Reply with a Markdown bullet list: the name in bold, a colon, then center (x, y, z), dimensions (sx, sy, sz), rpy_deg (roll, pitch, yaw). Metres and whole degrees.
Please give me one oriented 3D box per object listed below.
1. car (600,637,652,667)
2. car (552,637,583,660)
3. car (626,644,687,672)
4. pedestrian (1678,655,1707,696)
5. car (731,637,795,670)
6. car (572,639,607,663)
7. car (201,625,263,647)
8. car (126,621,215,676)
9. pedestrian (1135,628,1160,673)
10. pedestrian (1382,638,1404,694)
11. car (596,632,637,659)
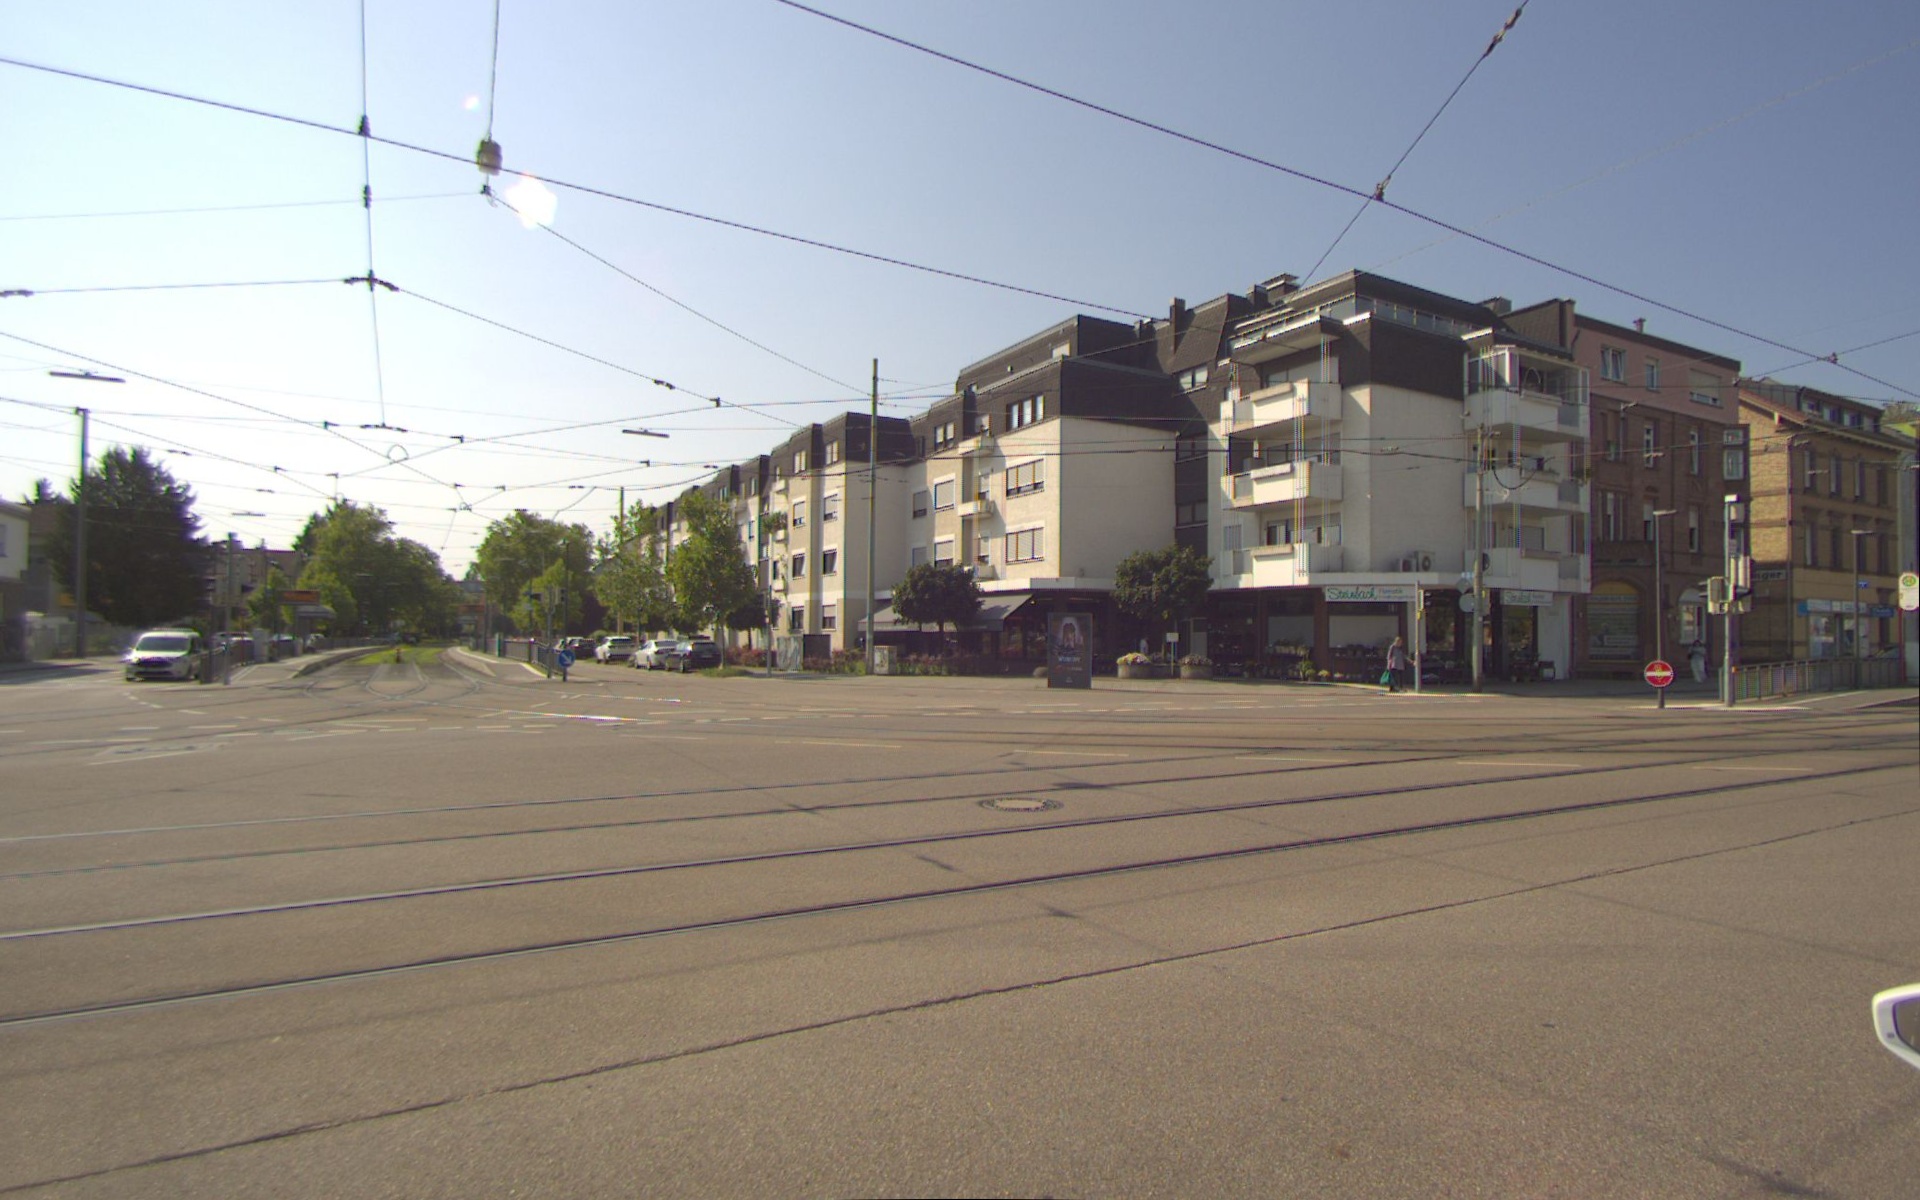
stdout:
- **car**: center (-18.392, 2.885, 55.151), dimensions (1.848, 1.554, 4.351), rpy_deg (2, -4, -30)
- **car**: center (-32.458, 4.026, 83.011), dimensions (1.974, 1.796, 3.974), rpy_deg (2, -4, -27)
- **car**: center (-15.176, 2.910, 50.093), dimensions (1.657, 1.316, 4.082), rpy_deg (3, -5, -35)
- **pedestrian**: center (29.037, 2.992, 39.836), dimensions (0.873, 1.580, 0.482), rpy_deg (3, -1, -19)
- **car**: center (-9.857, 2.650, 50.099), dimensions (1.907, 1.527, 4.090), rpy_deg (2, -2, -29)
- **car**: center (-27.197, 3.761, 73.717), dimensions (1.974, 1.674, 3.974), rpy_deg (2, -4, -27)
- **car**: center (-62.200, 3.089, 85.903), dimensions (3.953, 1.794, 1.985), rpy_deg (2, -4, -30)
- **car**: center (-29.074, 1.735, 37.114), dimensions (1.800, 1.911, 3.999), rpy_deg (2, -2, -27)
- **pedestrian**: center (7.450, 2.003, 39.863), dimensions (0.689, 1.763, 0.677), rpy_deg (2, -4, -28)
- **pedestrian**: center (13.847, 2.120, 32.099), dimensions (0.589, 1.767, 0.565), rpy_deg (-2, -4, 27)
- **car**: center (-20.989, 2.796, 61.216), dimensions (1.653, 1.500, 3.888), rpy_deg (2, -4, -29)
